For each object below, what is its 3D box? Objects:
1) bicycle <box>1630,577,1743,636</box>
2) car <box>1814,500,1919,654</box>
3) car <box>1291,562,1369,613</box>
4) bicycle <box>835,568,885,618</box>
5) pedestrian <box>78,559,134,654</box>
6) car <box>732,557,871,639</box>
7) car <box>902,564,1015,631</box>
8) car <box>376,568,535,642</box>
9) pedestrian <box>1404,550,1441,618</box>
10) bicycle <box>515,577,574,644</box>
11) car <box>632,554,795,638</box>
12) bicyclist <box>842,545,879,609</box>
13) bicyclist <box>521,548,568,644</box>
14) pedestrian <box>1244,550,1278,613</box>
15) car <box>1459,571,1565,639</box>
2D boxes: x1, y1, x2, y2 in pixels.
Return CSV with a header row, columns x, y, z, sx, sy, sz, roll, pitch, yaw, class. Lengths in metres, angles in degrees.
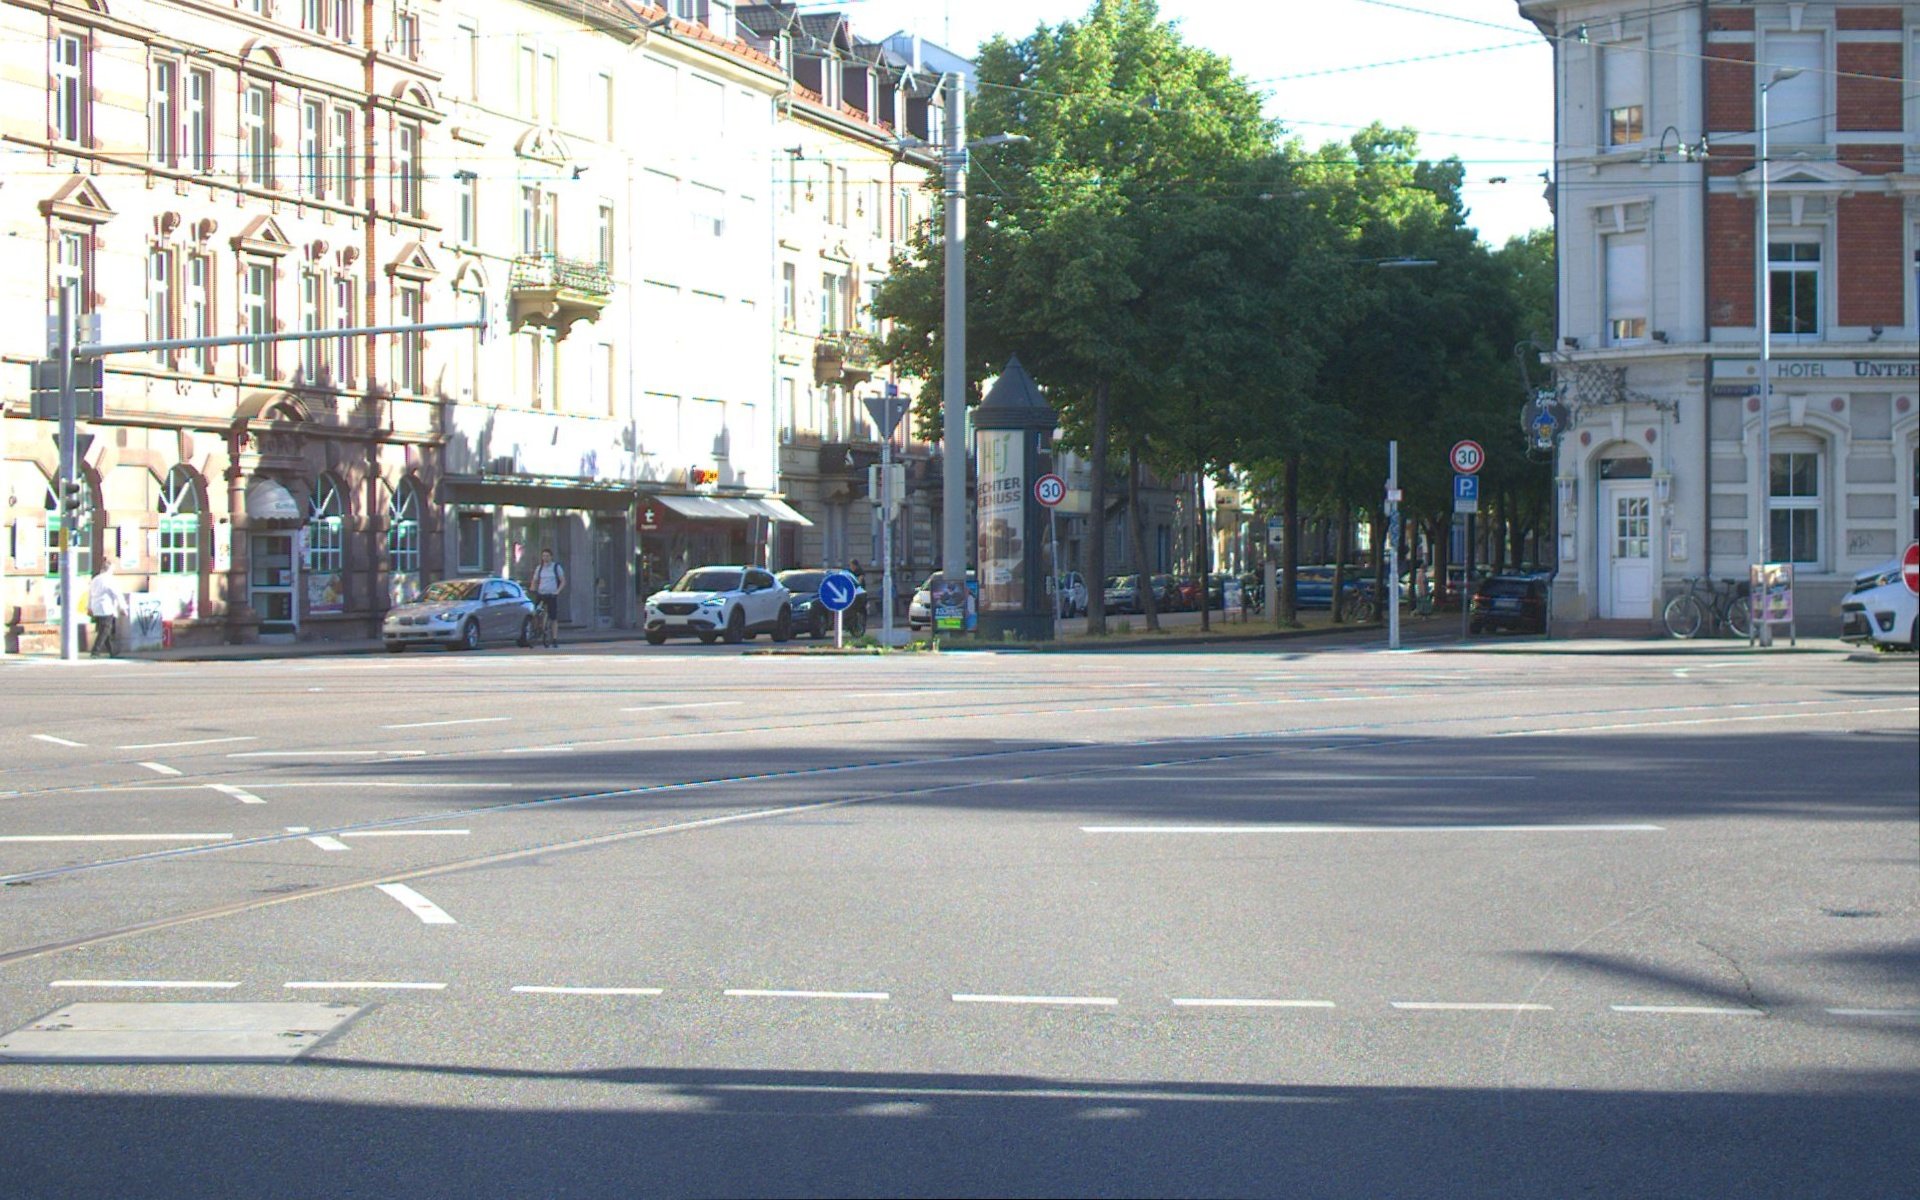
x,y,z,sx,sy,sz,roll,pitch,yaw,class
12.069,0.103,57.132,1.804,0.959,0.603,1,0,14,bicycle
13.388,-0.285,42.345,5.198,1.847,2.000,0,1,-2,car
12.546,-0.422,116.344,1.995,1.678,3.997,1,1,15,car
-2.469,-0.179,85.302,0.674,1.203,1.820,1,1,18,bicycle
-14.825,0.108,59.689,0.568,1.636,0.792,1,0,23,pedestrian
-3.361,-0.060,73.625,1.826,1.679,3.872,1,1,16,car
-0.014,-0.070,84.691,1.804,1.570,3.888,1,1,15,car
-9.794,0.079,67.027,1.661,1.369,3.889,1,1,15,car
13.798,-0.478,102.679,0.961,2.007,0.918,1,0,1,pedestrian
-7.863,0.194,65.038,0.565,1.250,1.556,1,1,14,bicycle
-4.778,-0.088,67.271,1.804,1.579,4.156,1,1,17,car
-2.464,-0.579,85.301,0.674,1.563,0.747,1,0,18,bicyclist
-7.866,-0.079,65.043,0.565,1.797,0.913,1,0,15,bicyclist
9.727,-0.589,111.181,0.944,2.007,0.826,1,0,14,pedestrian
13.272,0.103,82.505,1.758,1.550,3.996,1,1,20,car
